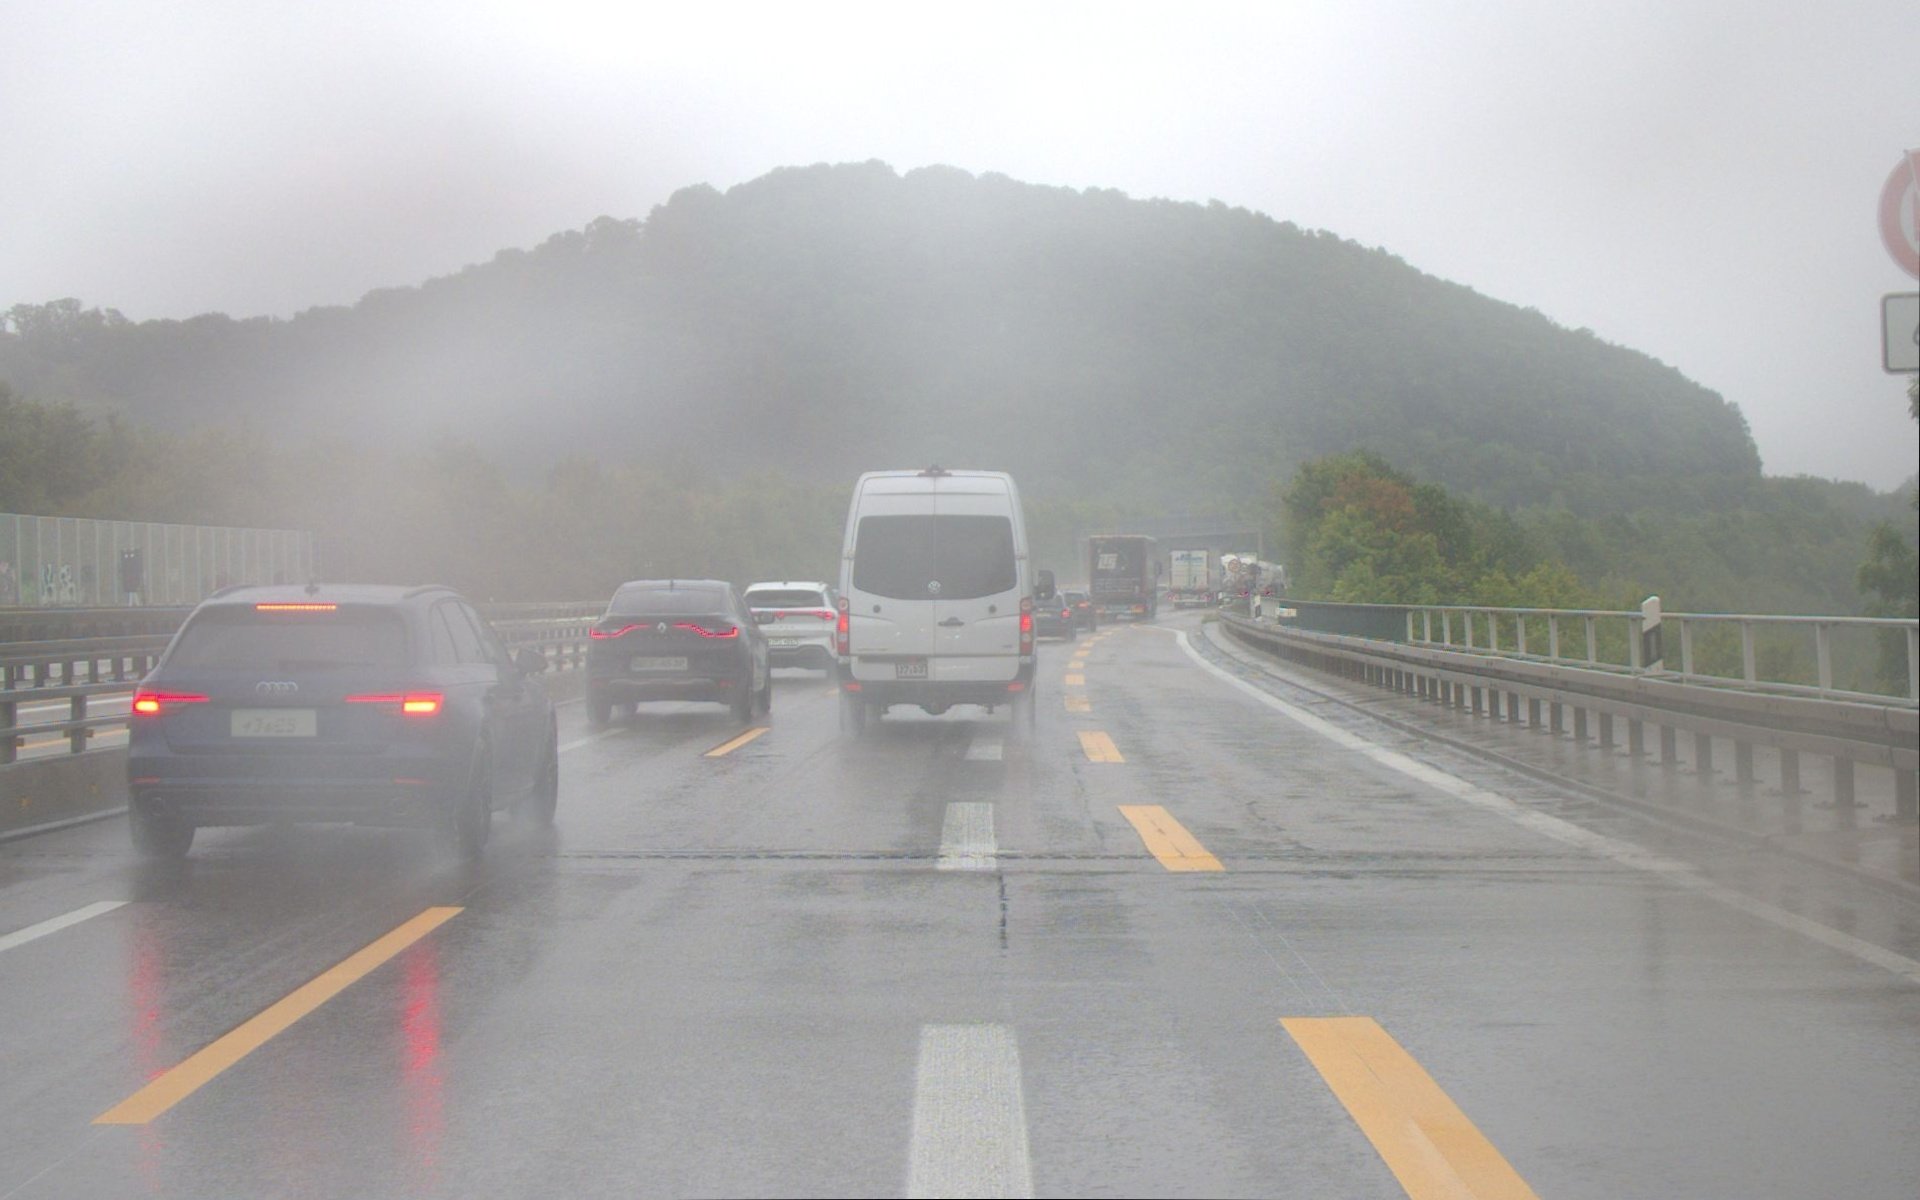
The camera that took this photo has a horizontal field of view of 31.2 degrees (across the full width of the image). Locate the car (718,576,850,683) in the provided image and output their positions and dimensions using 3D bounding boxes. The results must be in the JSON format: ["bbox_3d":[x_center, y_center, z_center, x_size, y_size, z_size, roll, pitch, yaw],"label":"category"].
[{"bbox_3d":[-2.836,0.463,55.302,1.993,1.612,4.797,1,0,-3],"label":"car"}]

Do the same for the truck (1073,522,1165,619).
[{"bbox_3d":[7.570,-1.343,162.380,3.582,4.391,9.621,1,0,7],"label":"truck"}]

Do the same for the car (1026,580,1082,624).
[{"bbox_3d":[3.261,0.062,118.625,1.774,1.470,3.999,1,0,4],"label":"car"}]

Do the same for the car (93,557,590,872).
[{"bbox_3d":[-3.244,0.559,18.969,1.993,1.492,4.631,1,0,-1],"label":"car"}]

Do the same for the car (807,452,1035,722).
[{"bbox_3d":[-0.326,-0.120,35.777,2.145,2.562,5.389,1,0,1],"label":"car"}]

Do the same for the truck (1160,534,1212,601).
[{"bbox_3d":[15.382,-2.156,233.087,3.037,4.391,9.621,1,0,6],"label":"truck"}]

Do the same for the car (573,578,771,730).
[{"bbox_3d":[-3.176,0.575,38.718,1.993,1.579,4.414,1,0,-2],"label":"car"}]

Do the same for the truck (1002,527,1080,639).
[{"bbox_3d":[2.402,-0.462,100.052,1.994,3.098,8.497,1,0,3],"label":"truck"}]
